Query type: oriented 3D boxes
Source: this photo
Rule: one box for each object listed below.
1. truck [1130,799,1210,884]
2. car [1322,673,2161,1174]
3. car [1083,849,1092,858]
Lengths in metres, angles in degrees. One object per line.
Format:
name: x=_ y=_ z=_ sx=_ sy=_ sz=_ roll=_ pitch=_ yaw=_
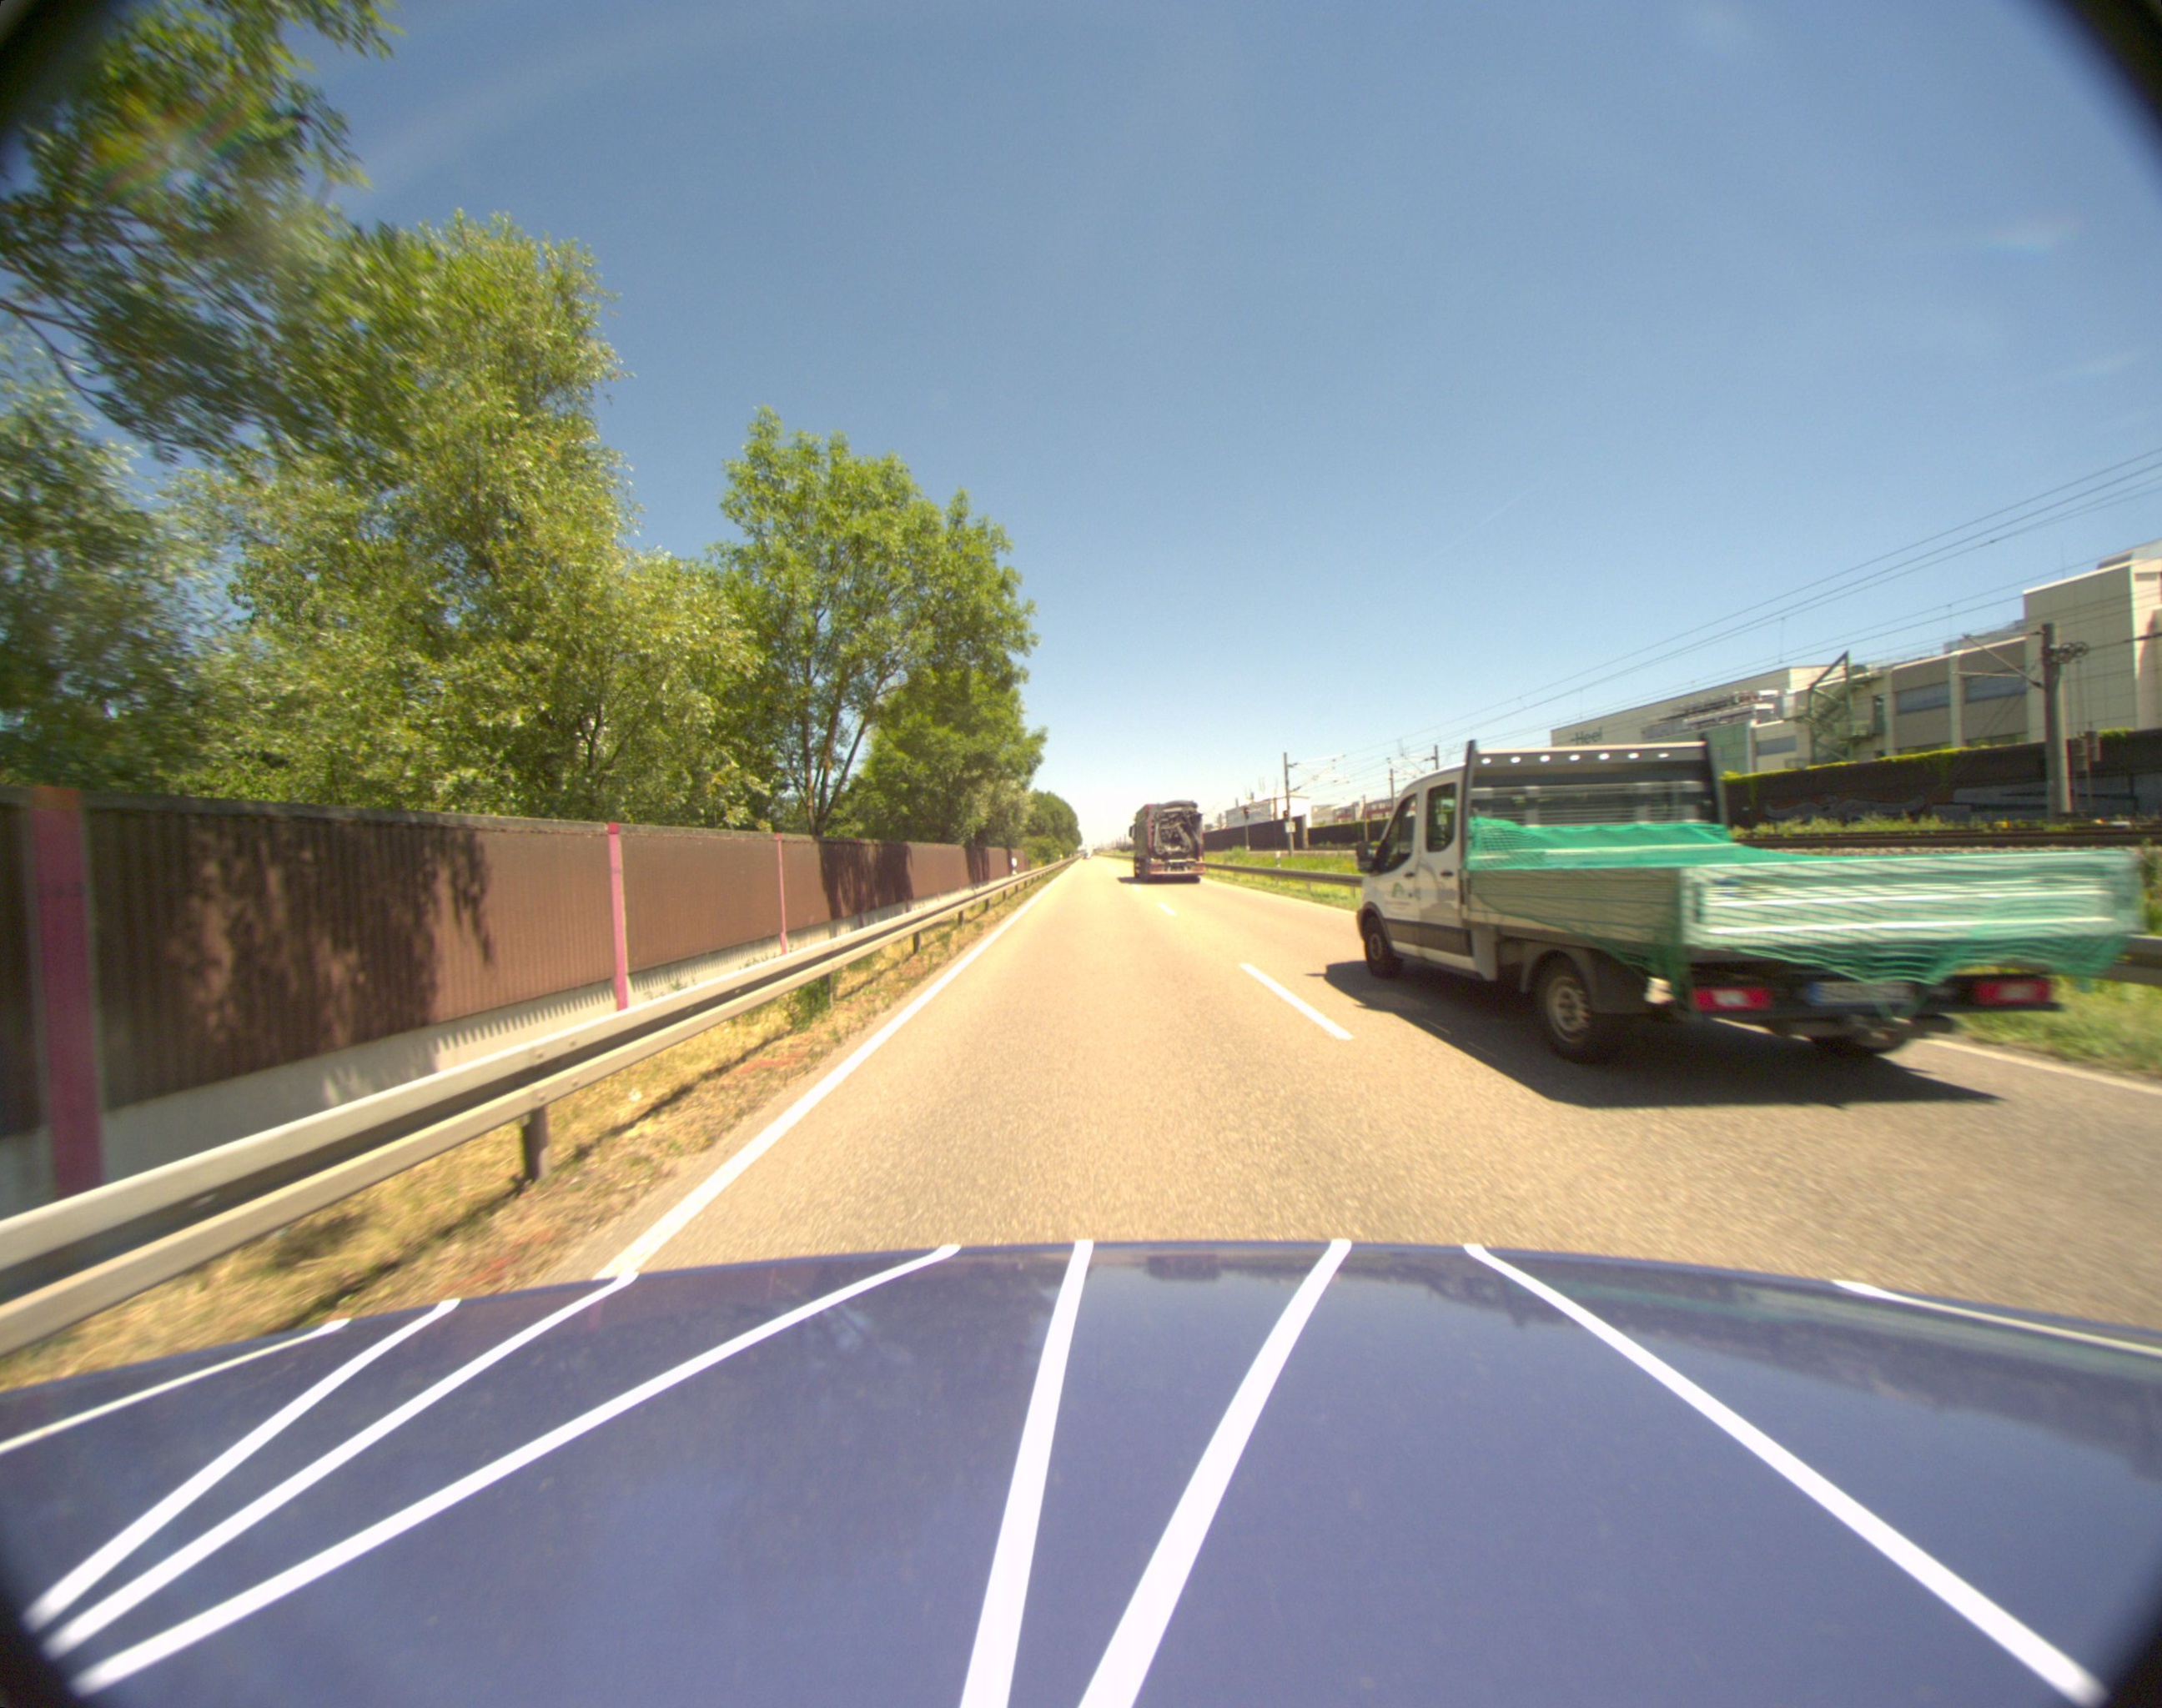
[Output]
truck: x=4.198 y=-0.563 z=38.291 sx=2.665 sy=3.606 sz=10.976 roll=-1 pitch=0 yaw=0
car: x=4.186 y=0.311 z=6.669 sx=2.267 sy=2.273 sz=6.235 roll=-2 pitch=0 yaw=2
car: x=1.537 y=-0.193 z=180.529 sx=1.999 sy=2.002 sz=3.999 roll=-2 pitch=0 yaw=-1
